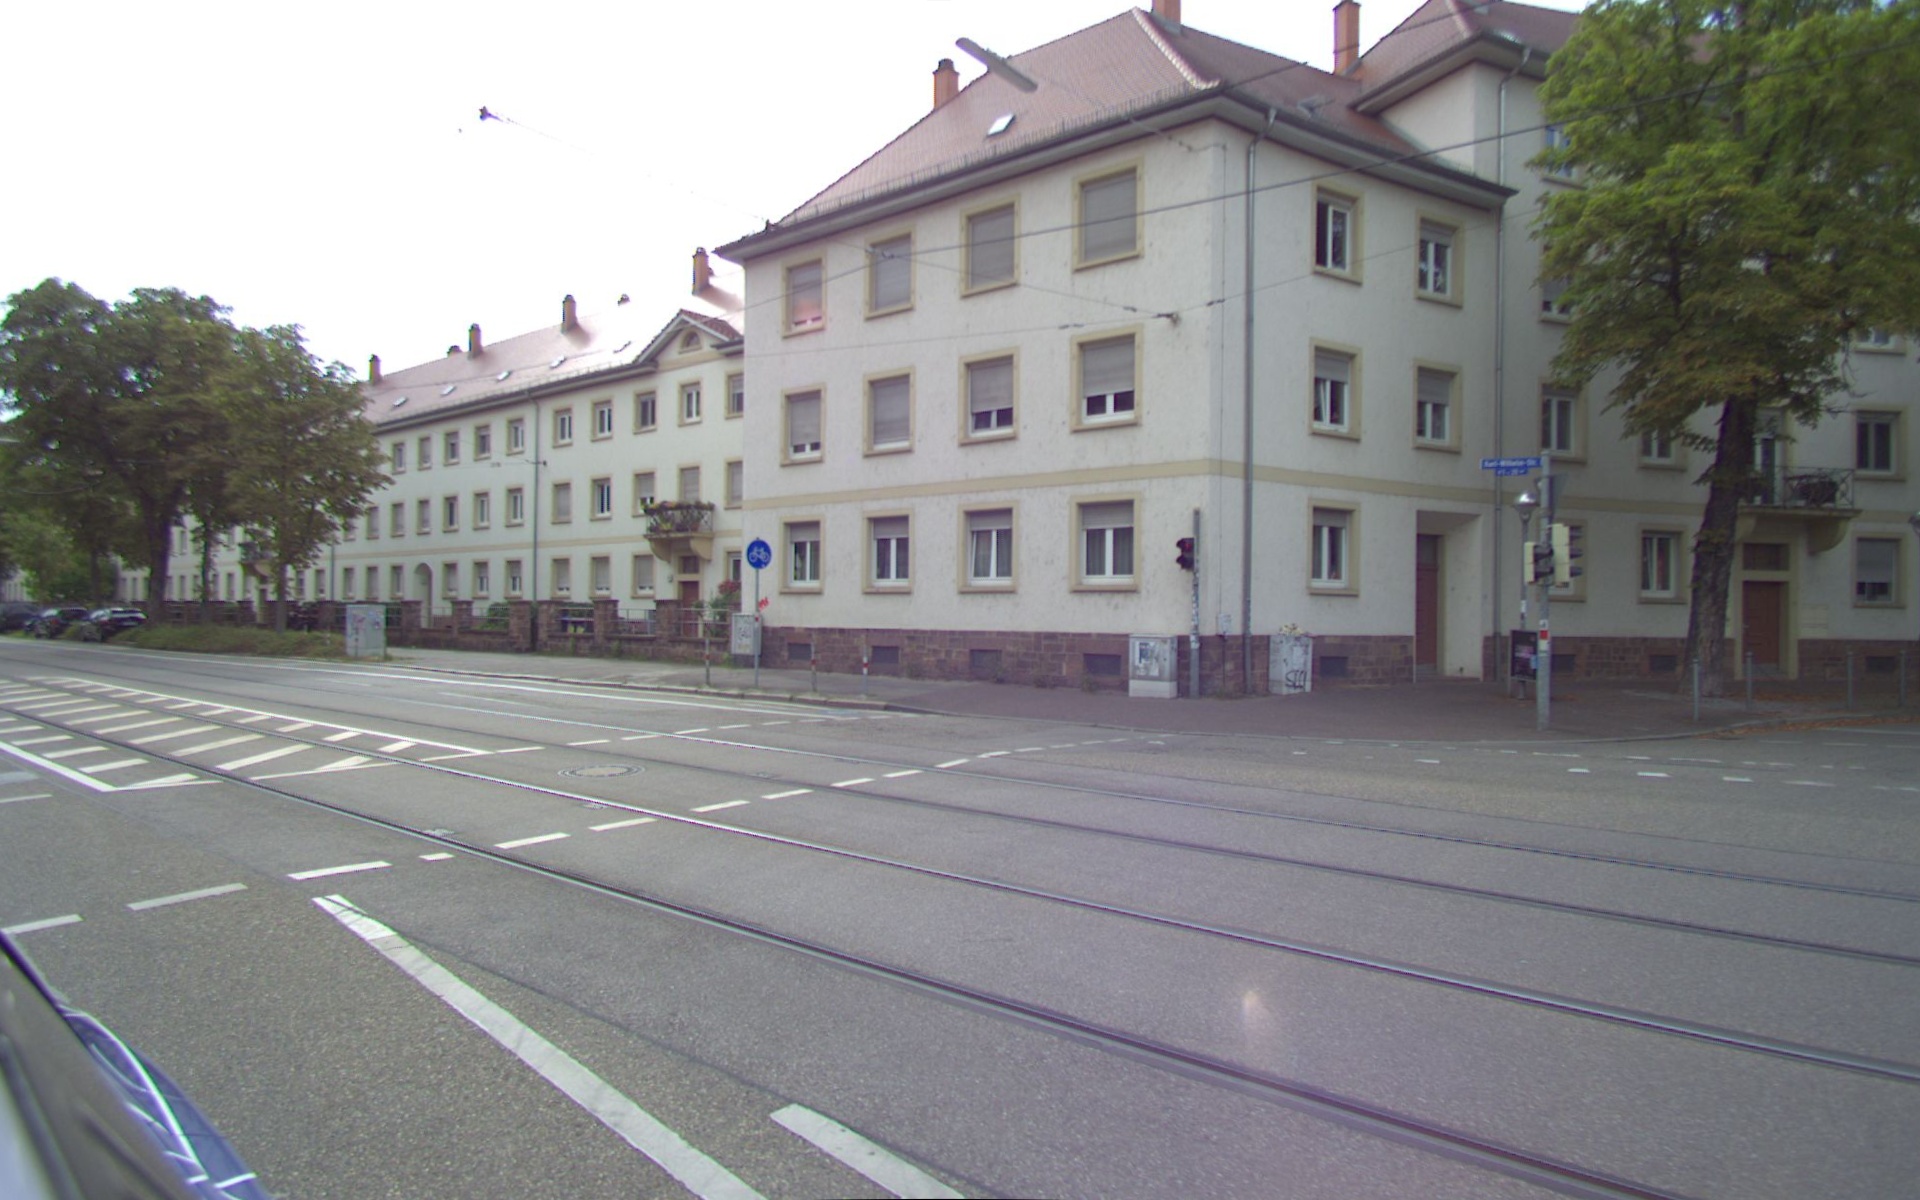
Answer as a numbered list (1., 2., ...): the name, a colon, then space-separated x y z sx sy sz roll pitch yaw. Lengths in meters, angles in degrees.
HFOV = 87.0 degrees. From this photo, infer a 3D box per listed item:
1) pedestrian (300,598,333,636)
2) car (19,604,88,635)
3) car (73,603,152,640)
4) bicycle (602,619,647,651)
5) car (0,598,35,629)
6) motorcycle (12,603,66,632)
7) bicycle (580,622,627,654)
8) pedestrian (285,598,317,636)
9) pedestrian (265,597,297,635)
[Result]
1. pedestrian: -25.218 0.679 39.644 0.730 1.476 0.826 0 -1 32
2. car: -43.079 0.896 48.082 4.293 1.434 1.681 0 0 37
3. car: -36.414 0.884 43.452 4.293 1.434 1.681 0 2 37
4. bicycle: -10.373 1.075 31.256 1.669 0.922 0.473 0 -2 38
5. car: -52.105 0.732 55.140 4.293 1.624 1.769 0 -1 37
6. motorcycle: -45.997 0.862 50.553 0.590 1.269 1.852 0 4 33
7. bicycle: -10.671 1.128 30.270 1.669 0.922 0.473 0 -2 38
8. pedestrian: -26.250 0.676 40.302 0.730 1.476 0.826 0 -1 32
9. pedestrian: -27.766 0.667 41.404 0.730 1.524 0.826 0 -1 32
